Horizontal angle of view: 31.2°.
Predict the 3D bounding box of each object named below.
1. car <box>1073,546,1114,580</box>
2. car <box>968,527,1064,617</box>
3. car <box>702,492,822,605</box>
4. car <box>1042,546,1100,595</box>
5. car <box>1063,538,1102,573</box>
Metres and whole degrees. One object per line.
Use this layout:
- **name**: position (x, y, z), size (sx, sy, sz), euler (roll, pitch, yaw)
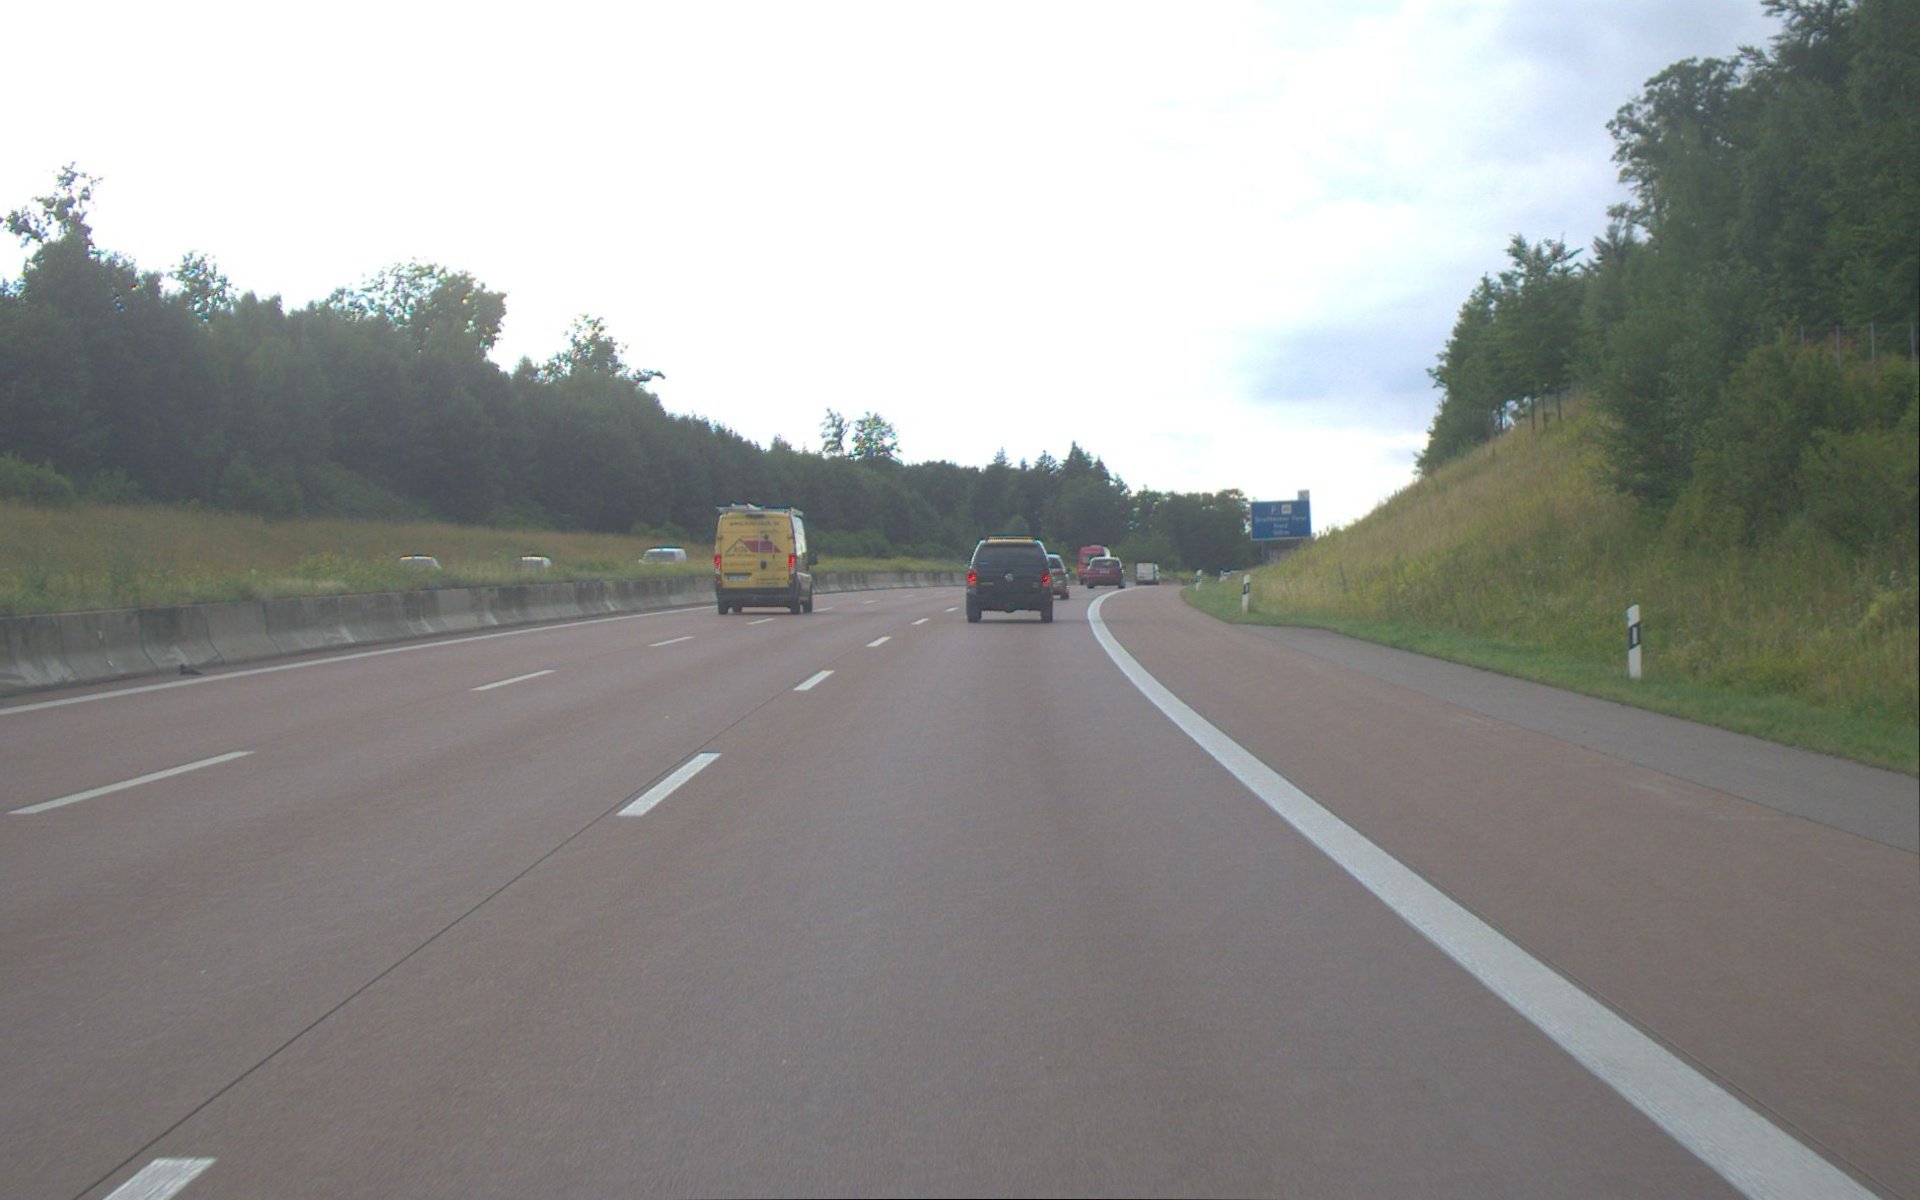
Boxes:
- **car**: position (7.011, -1.923, 180.694), size (1.977, 1.642, 4.619), euler (-1, -1, 0)
- **car**: position (1.249, -0.585, 76.404), size (2.044, 1.890, 5.577), euler (-1, -1, 1)
- **car**: position (-4.967, -1.258, 86.883), size (2.459, 2.697, 5.613), euler (-1, -1, 2)
- **car**: position (3.884, -1.021, 120.150), size (1.978, 1.642, 4.619), euler (0, 0, 2)
- **car**: position (8.540, -3.094, 239.194), size (2.241, 2.422, 6.203), euler (0, 1, 6)
